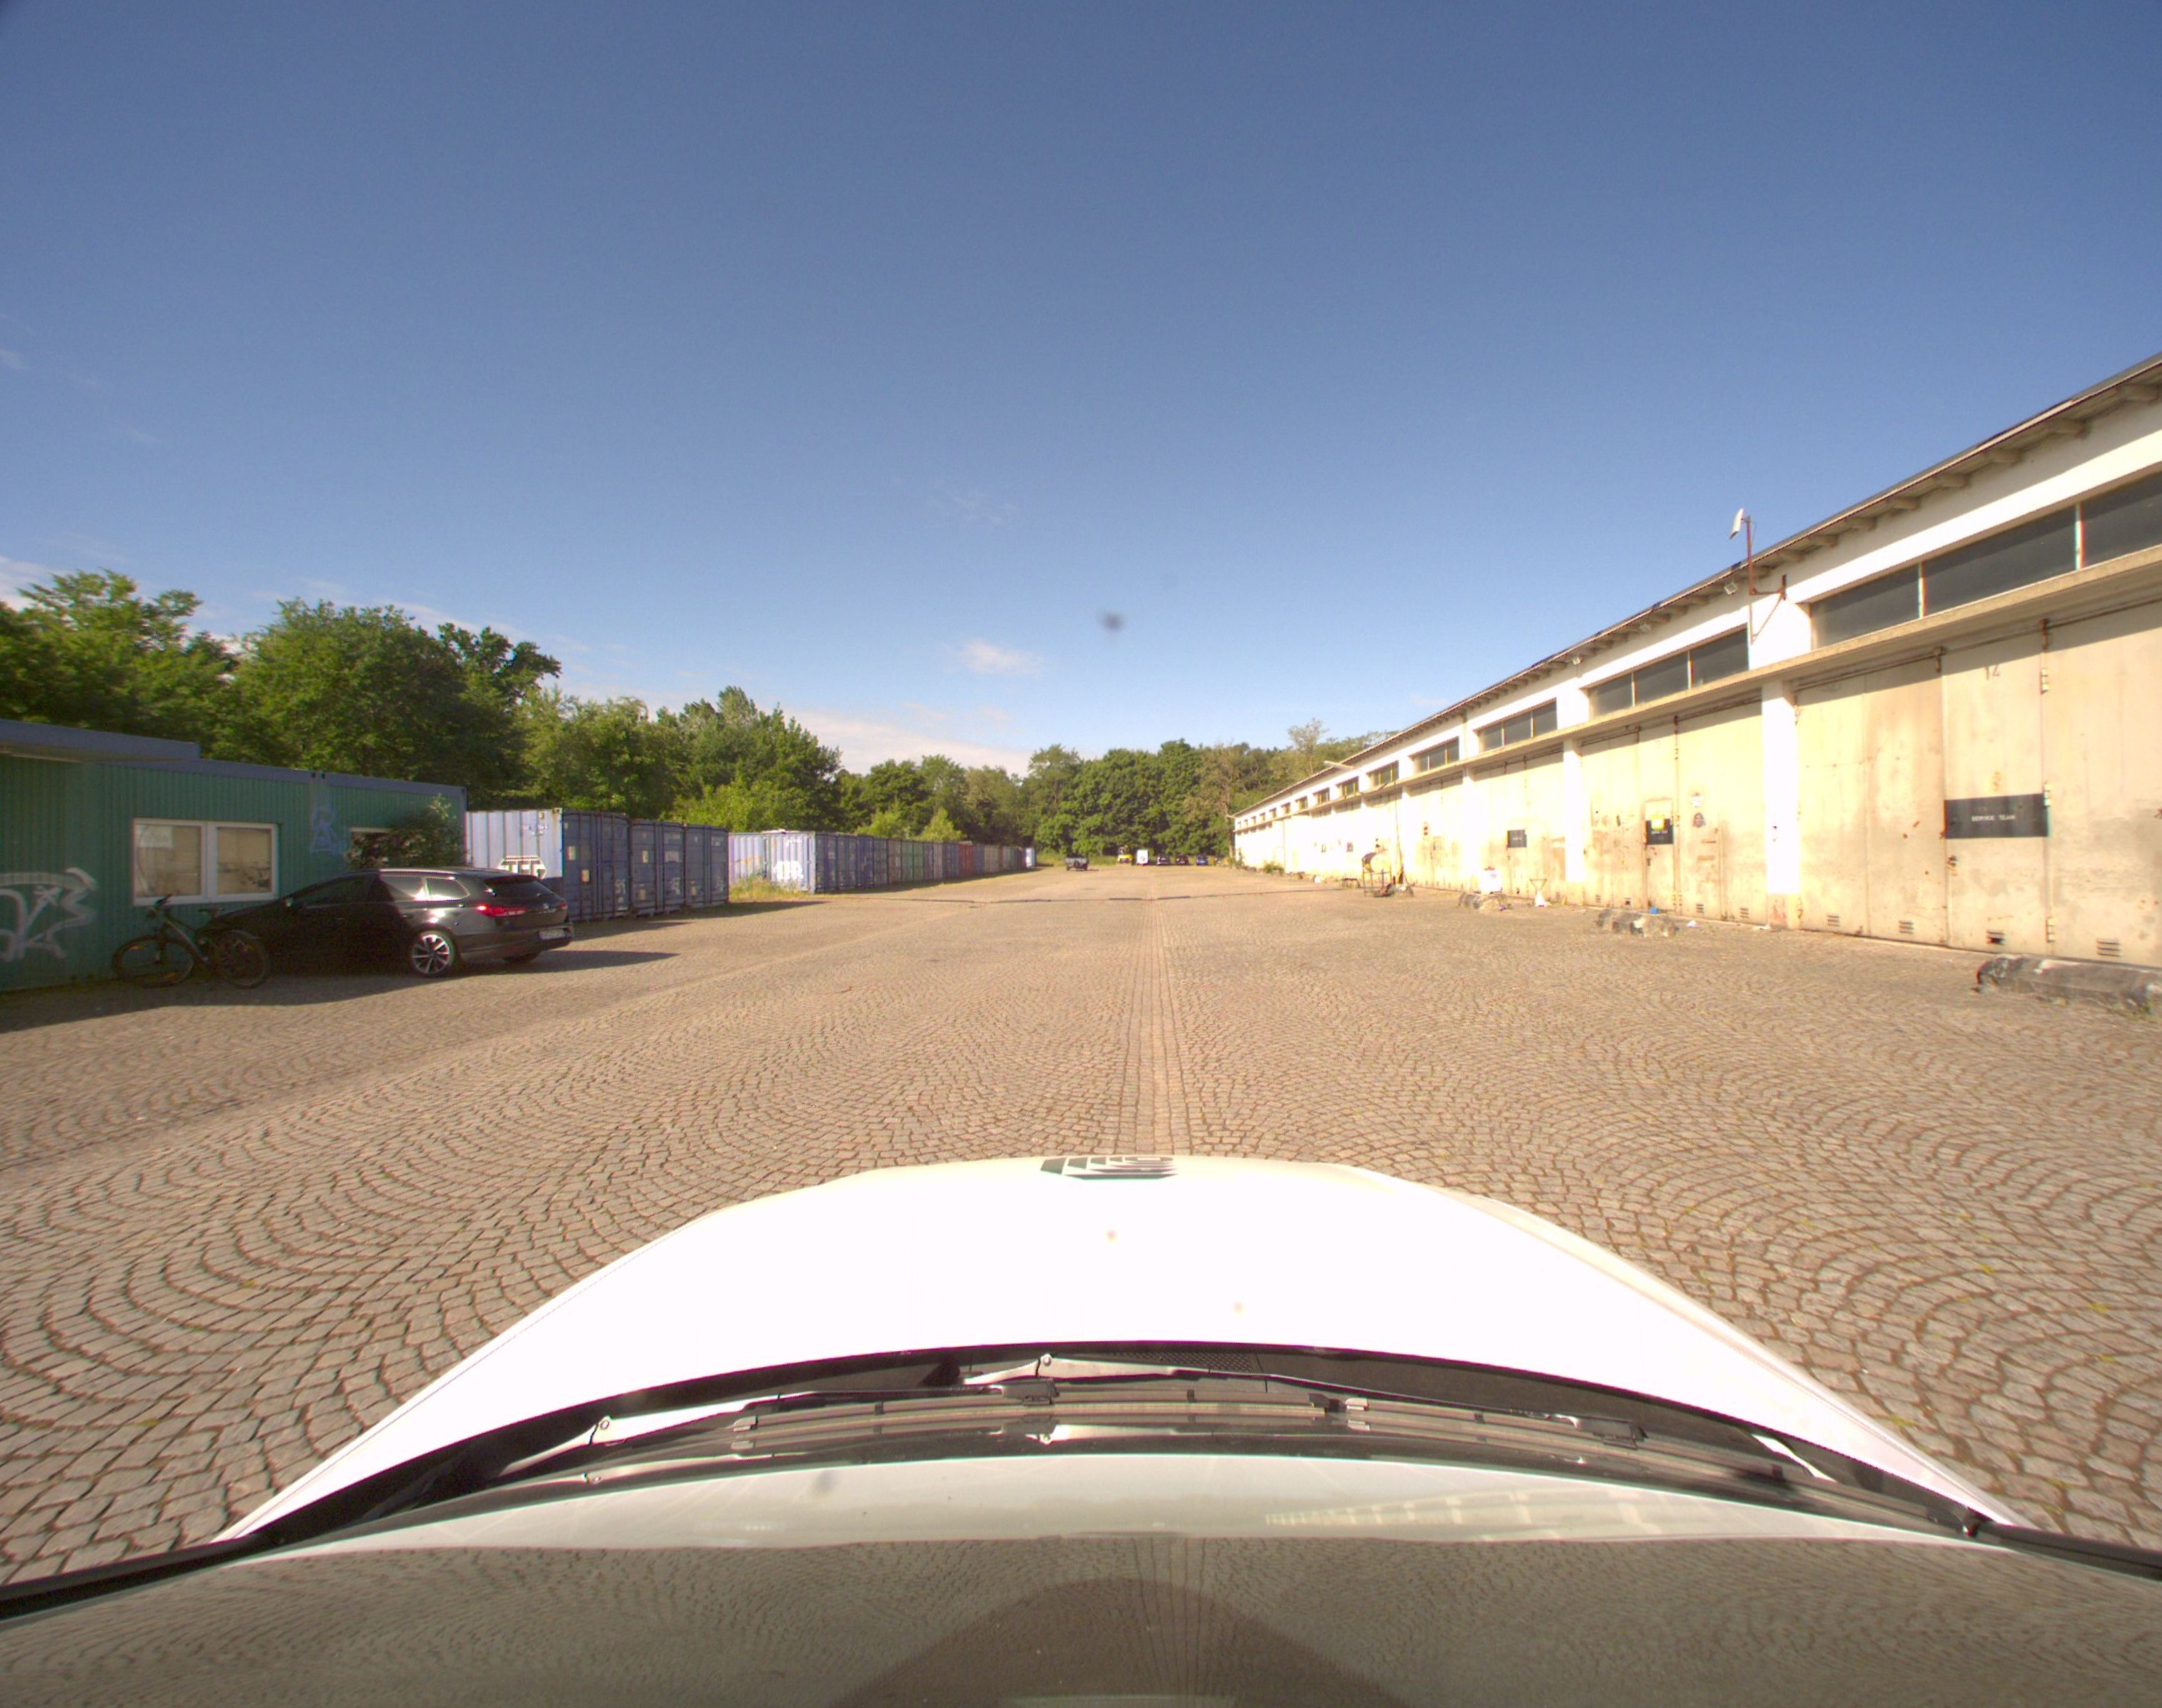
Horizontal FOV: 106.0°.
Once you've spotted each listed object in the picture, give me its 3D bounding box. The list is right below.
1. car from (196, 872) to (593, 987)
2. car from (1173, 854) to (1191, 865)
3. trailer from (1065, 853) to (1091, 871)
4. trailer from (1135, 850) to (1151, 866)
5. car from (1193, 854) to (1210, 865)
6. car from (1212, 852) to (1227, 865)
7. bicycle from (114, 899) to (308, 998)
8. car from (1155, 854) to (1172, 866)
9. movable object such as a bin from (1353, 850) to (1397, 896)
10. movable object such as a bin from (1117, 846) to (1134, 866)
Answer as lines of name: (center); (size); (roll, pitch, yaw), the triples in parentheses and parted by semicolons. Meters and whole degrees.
car: (-9.411, 0.995, 11.434); (4.038, 1.413, 1.731); (0, -1, -2)
car: (13.400, 0.732, 108.140); (1.980, 1.463, 4.013); (-2, 0, 12)
trailer: (-0.288, 0.892, 91.434); (2.394, 2.013, 4.181); (1, 0, 7)
trailer: (8.424, 0.543, 110.013); (1.783, 2.090, 3.981); (-2, 0, 9)
car: (16.014, 0.701, 107.950); (1.980, 1.420, 4.013); (-2, 0, 12)
car: (18.577, 0.597, 109.124); (1.674, 1.563, 4.013); (-2, 0, 12)
bicycle: (-10.542, 1.126, 9.900); (1.700, 1.101, 0.674); (0, 0, 4)
car: (10.993, 0.782, 108.120); (1.849, 1.585, 4.013); (-2, 0, 12)
movable object such as a bin: (8.851, 0.557, 24.541); (0.821, 1.331, 1.280); (-2, 0, 0)
movable object such as a bin: (6.053, 0.238, 110.465); (1.982, 2.618, 4.010); (0, 0, 9)
